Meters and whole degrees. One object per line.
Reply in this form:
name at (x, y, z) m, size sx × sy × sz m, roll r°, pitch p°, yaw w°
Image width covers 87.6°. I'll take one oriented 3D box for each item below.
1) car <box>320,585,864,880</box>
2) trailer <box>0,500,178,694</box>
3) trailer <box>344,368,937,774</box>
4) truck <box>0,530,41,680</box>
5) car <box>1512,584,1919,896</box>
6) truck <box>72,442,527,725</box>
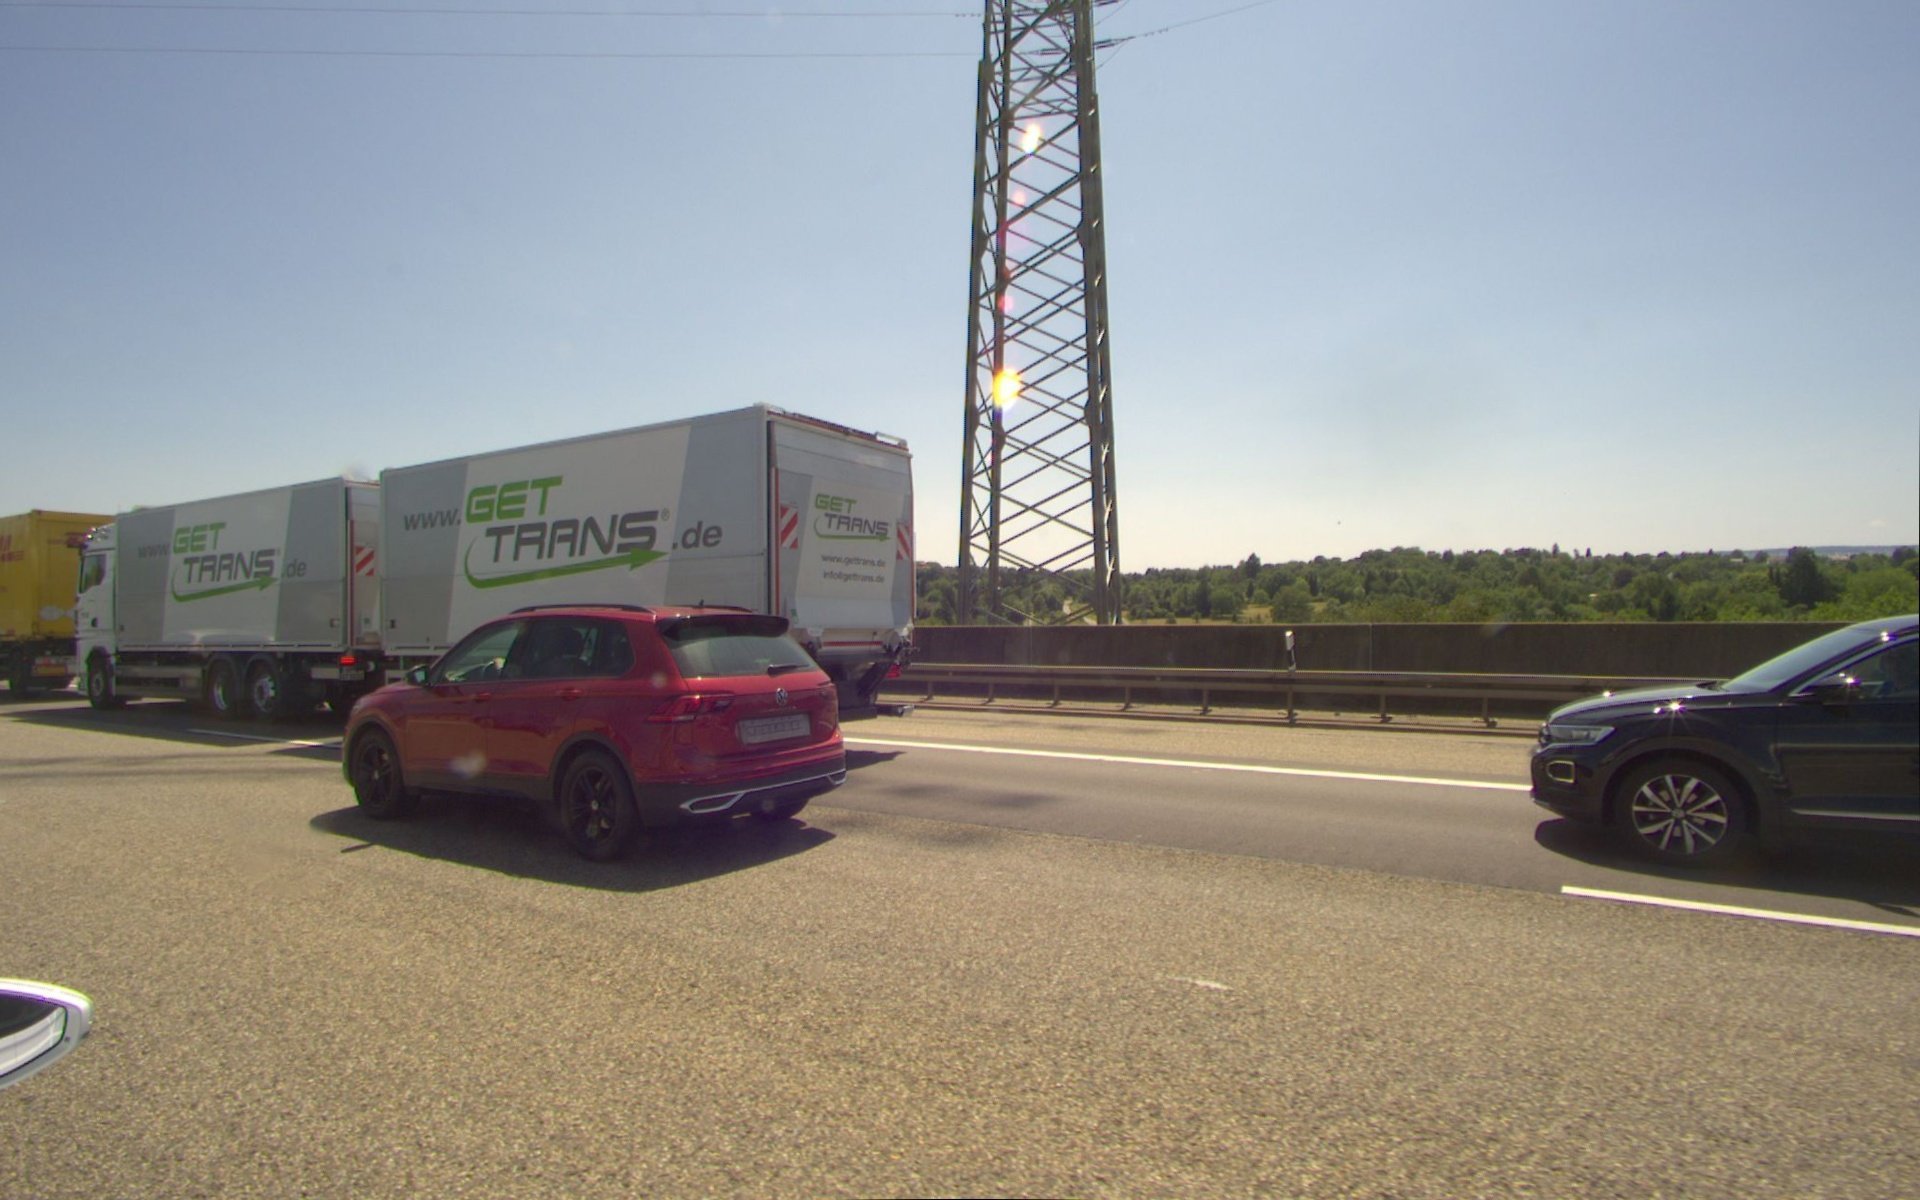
car at (-2.921, 0.851, 7.652) m, size 4.224 × 1.700 × 1.706 m, roll -2°, pitch -3°, yaw 33°
trailer at (-22.970, 0.094, 24.824) m, size 8.851 × 4.139 × 2.679 m, roll -2°, pitch -2°, yaw 31°
trailer at (-4.460, -0.137, 13.109) m, size 8.098 × 3.940 × 2.894 m, roll -2°, pitch -2°, yaw 32°
truck at (-30.837, 0.249, 29.714) m, size 9.797 × 4.139 × 2.695 m, roll -2°, pitch -2°, yaw 32°
car at (5.701, 0.772, 6.030) m, size 4.060 × 1.675 × 1.705 m, roll -2°, pitch -2°, yaw 33°
truck at (-12.324, -0.052, 18.140) m, size 10.459 × 3.984 × 2.847 m, roll -2°, pitch -2°, yaw 32°
